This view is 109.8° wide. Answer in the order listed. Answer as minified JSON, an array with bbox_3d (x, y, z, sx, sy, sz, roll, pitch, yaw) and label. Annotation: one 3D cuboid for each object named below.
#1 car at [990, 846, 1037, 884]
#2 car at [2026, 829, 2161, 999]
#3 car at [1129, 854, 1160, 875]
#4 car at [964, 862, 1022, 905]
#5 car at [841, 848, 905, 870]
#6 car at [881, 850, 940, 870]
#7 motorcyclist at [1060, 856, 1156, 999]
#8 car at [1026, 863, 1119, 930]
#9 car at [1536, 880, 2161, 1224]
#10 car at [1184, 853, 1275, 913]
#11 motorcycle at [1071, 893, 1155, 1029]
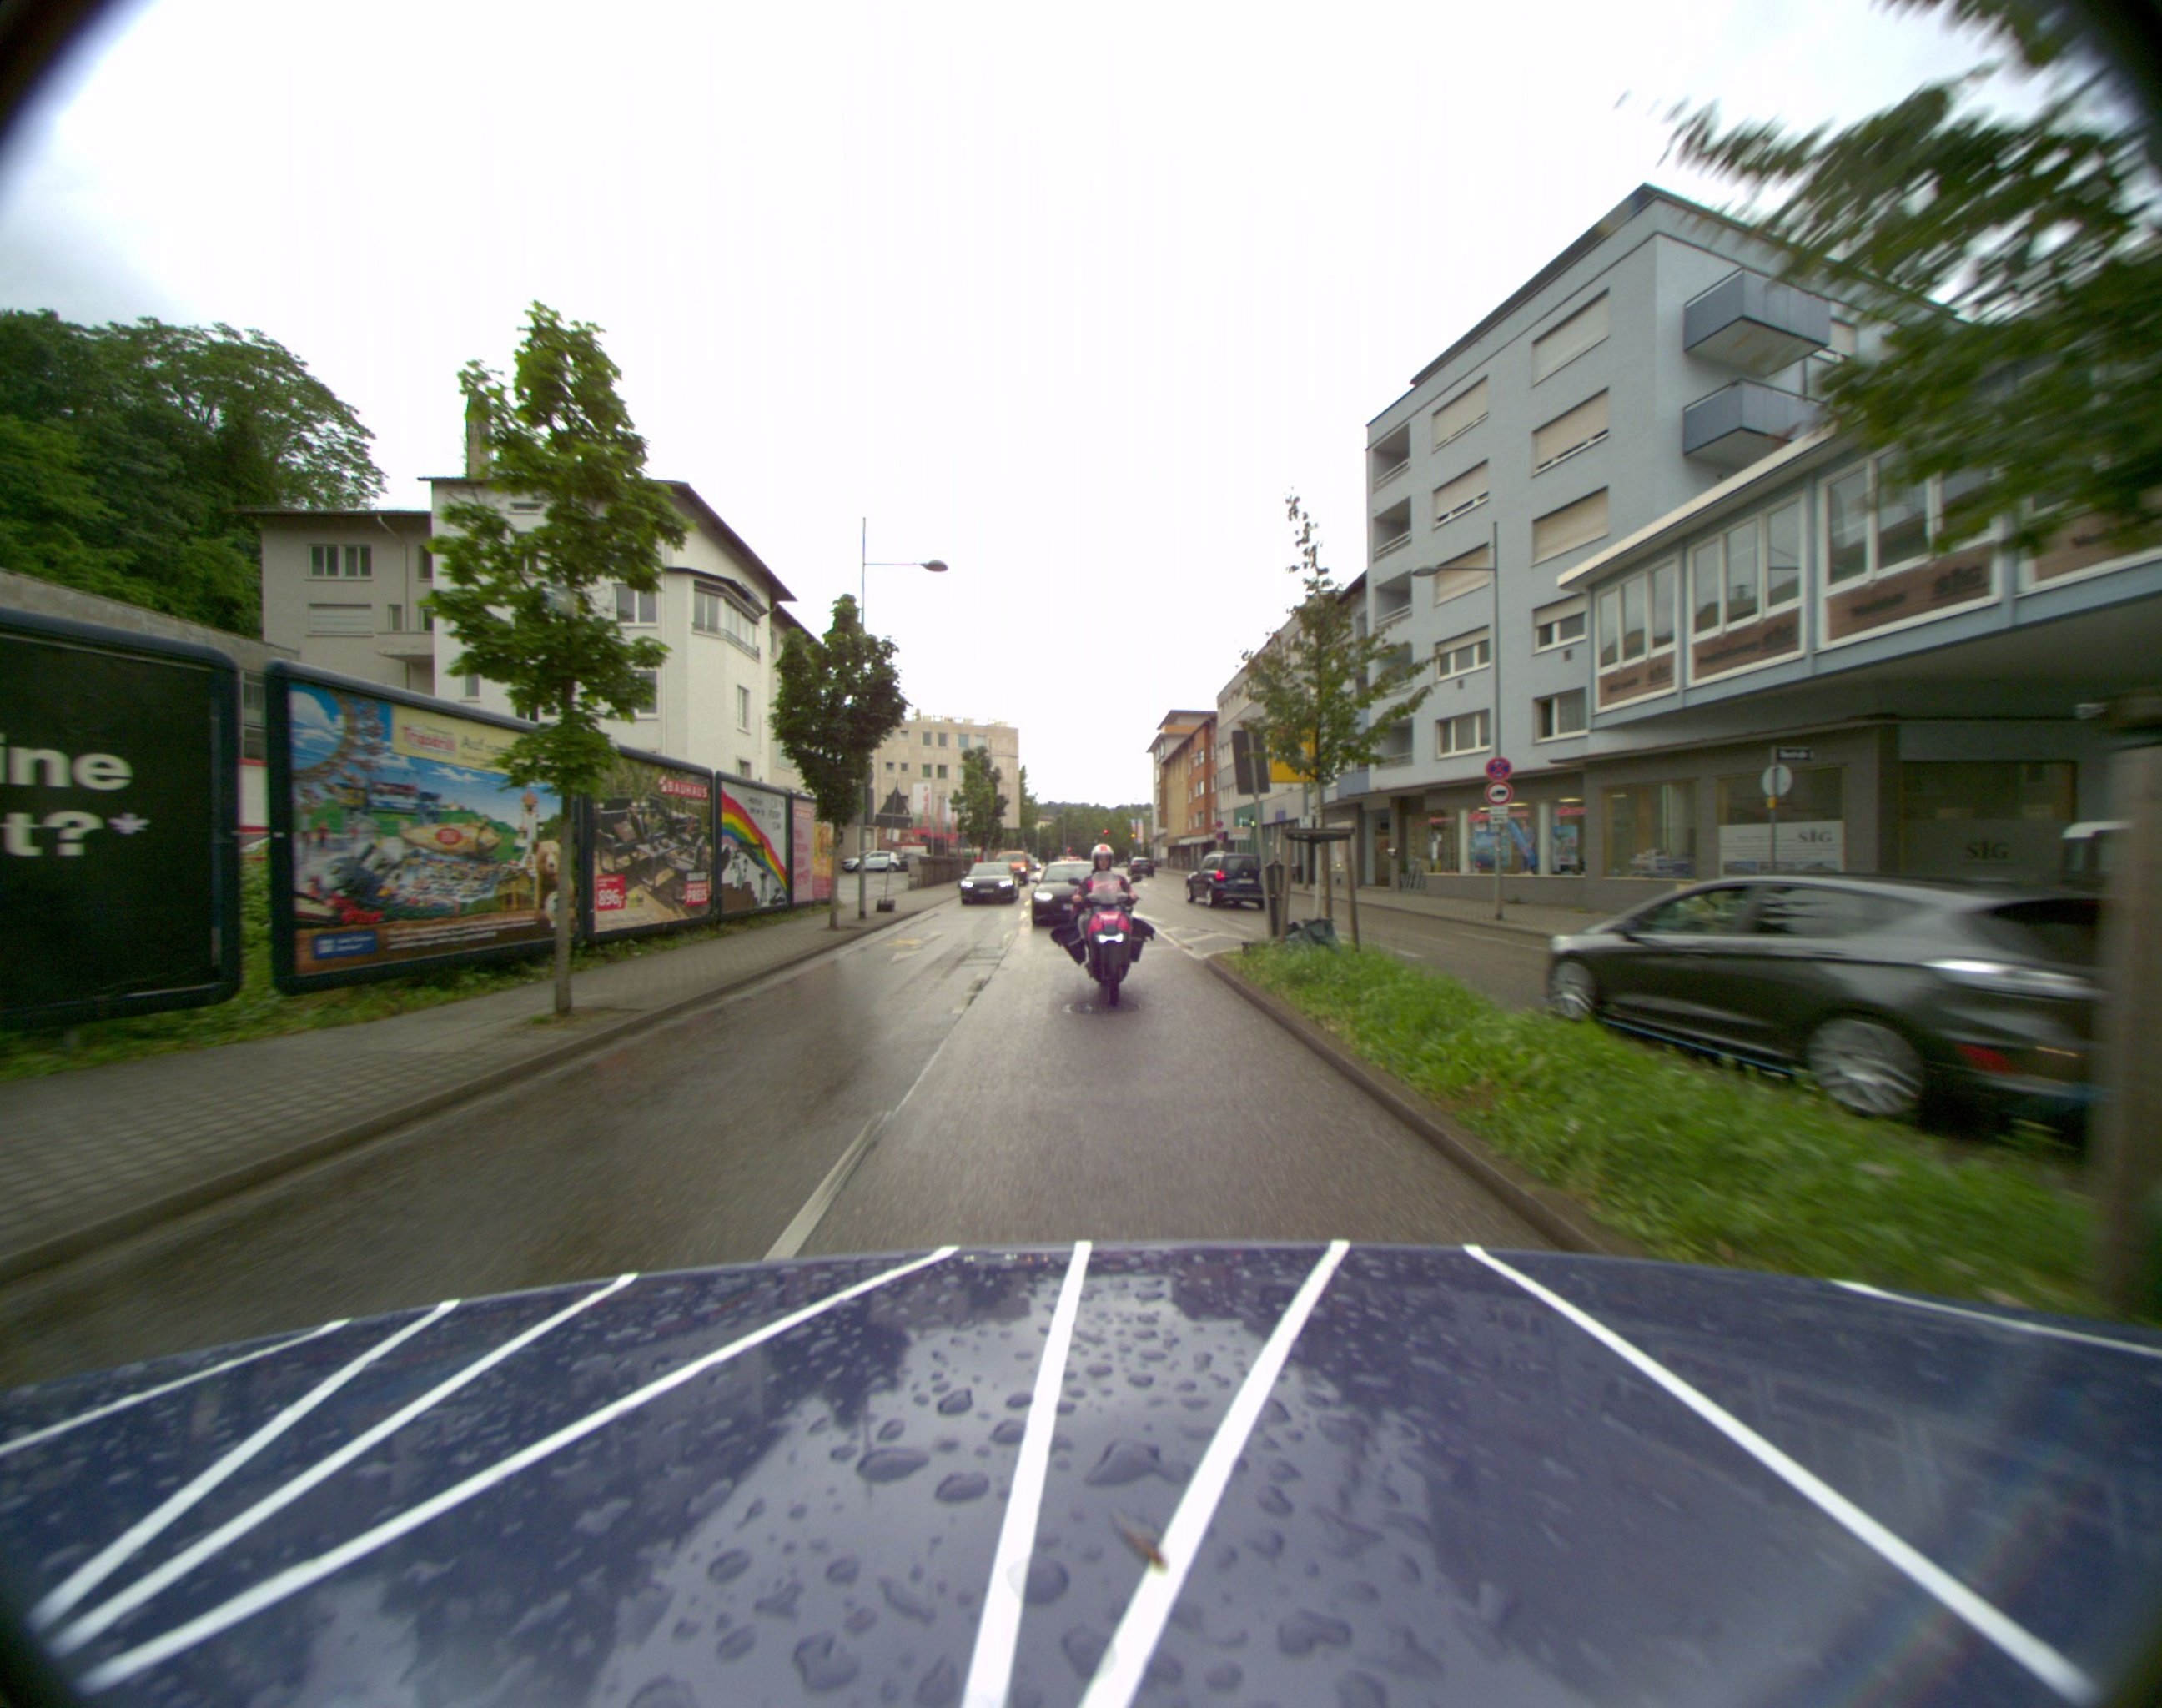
[{"bbox_3d":[-3.947,0.572,45.517,2.198,2.074,5.932,-1,1,0],"label":"car"},{"bbox_3d":[14.993,0.724,9.481,3.997,2.042,1.895,0,0,0],"label":"car"},{"bbox_3d":[4.883,0.764,58.931,1.909,1.471,3.999,2,1,-1],"label":"car"},{"bbox_3d":[-3.124,1.014,27.644,1.812,1.331,4.276,-2,0,-3],"label":"car"},{"bbox_3d":[-15.685,0.384,57.321,4.254,1.566,1.940,2,-3,-43],"label":"car"},{"bbox_3d":[-13.954,0.516,62.309,4.253,1.566,1.941,1,-2,-37],"label":"car"},{"bbox_3d":[0.275,0.781,8.463,0.917,1.484,0.864,-1,0,-7],"label":"motorcyclist"},{"bbox_3d":[-0.184,0.981,19.738,2.040,1.379,5.293,2,0,0],"label":"car"},{"bbox_3d":[5.278,0.988,5.380,1.702,1.432,3.839,2,0,-1],"label":"car"},{"bbox_3d":[4.476,0.835,23.466,1.777,1.634,3.838,2,0,-4],"label":"car"},{"bbox_3d":[0.300,1.087,8.395,0.589,1.184,2.101,-1,0,-7],"label":"motorcycle"}]
